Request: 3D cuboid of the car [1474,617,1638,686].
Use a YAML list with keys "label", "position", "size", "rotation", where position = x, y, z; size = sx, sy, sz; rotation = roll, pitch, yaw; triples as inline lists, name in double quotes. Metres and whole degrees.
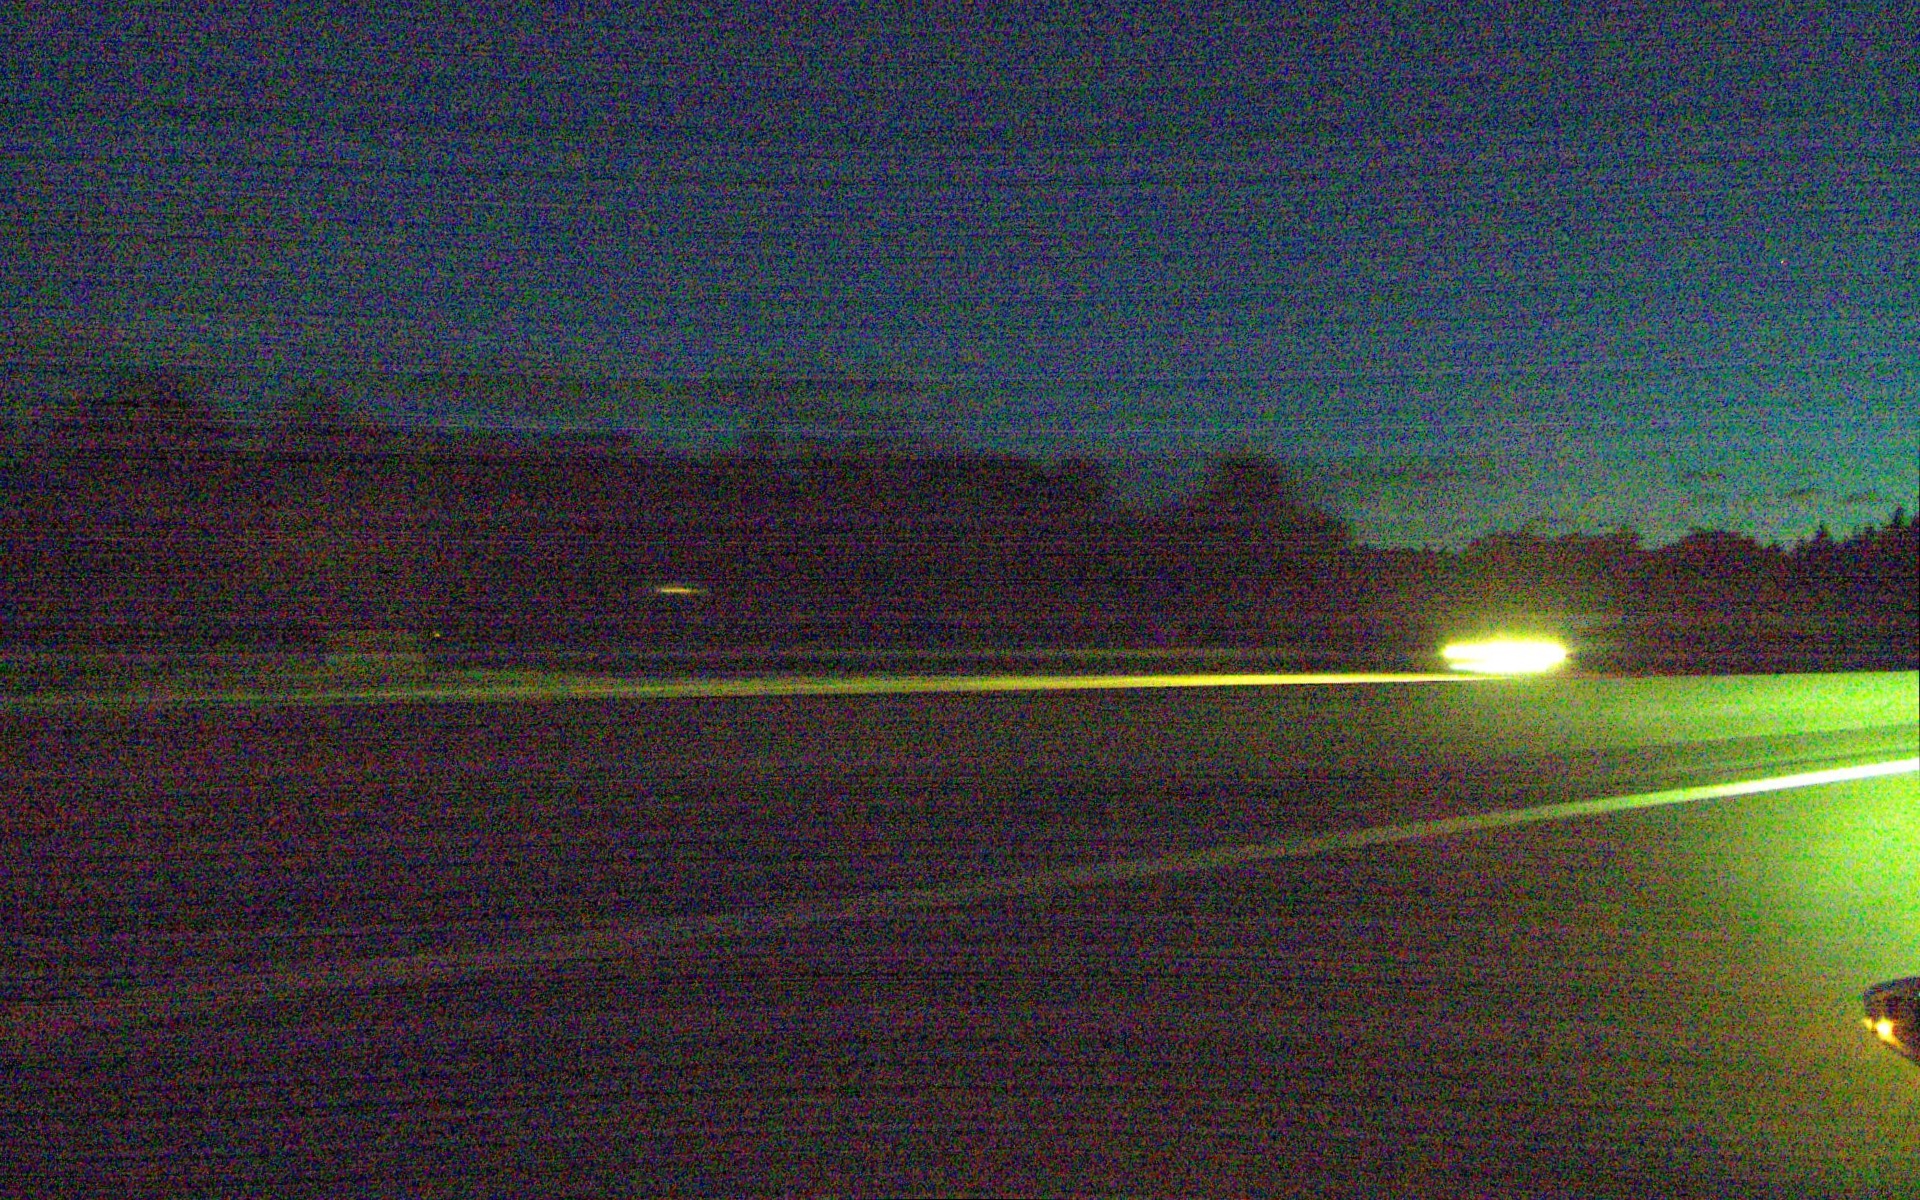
- label: "car"
  position: [18.683, 1.572, 31.432]
  size: [5.331, 1.995, 2.019]
  rotation: [2, -1, -29]
